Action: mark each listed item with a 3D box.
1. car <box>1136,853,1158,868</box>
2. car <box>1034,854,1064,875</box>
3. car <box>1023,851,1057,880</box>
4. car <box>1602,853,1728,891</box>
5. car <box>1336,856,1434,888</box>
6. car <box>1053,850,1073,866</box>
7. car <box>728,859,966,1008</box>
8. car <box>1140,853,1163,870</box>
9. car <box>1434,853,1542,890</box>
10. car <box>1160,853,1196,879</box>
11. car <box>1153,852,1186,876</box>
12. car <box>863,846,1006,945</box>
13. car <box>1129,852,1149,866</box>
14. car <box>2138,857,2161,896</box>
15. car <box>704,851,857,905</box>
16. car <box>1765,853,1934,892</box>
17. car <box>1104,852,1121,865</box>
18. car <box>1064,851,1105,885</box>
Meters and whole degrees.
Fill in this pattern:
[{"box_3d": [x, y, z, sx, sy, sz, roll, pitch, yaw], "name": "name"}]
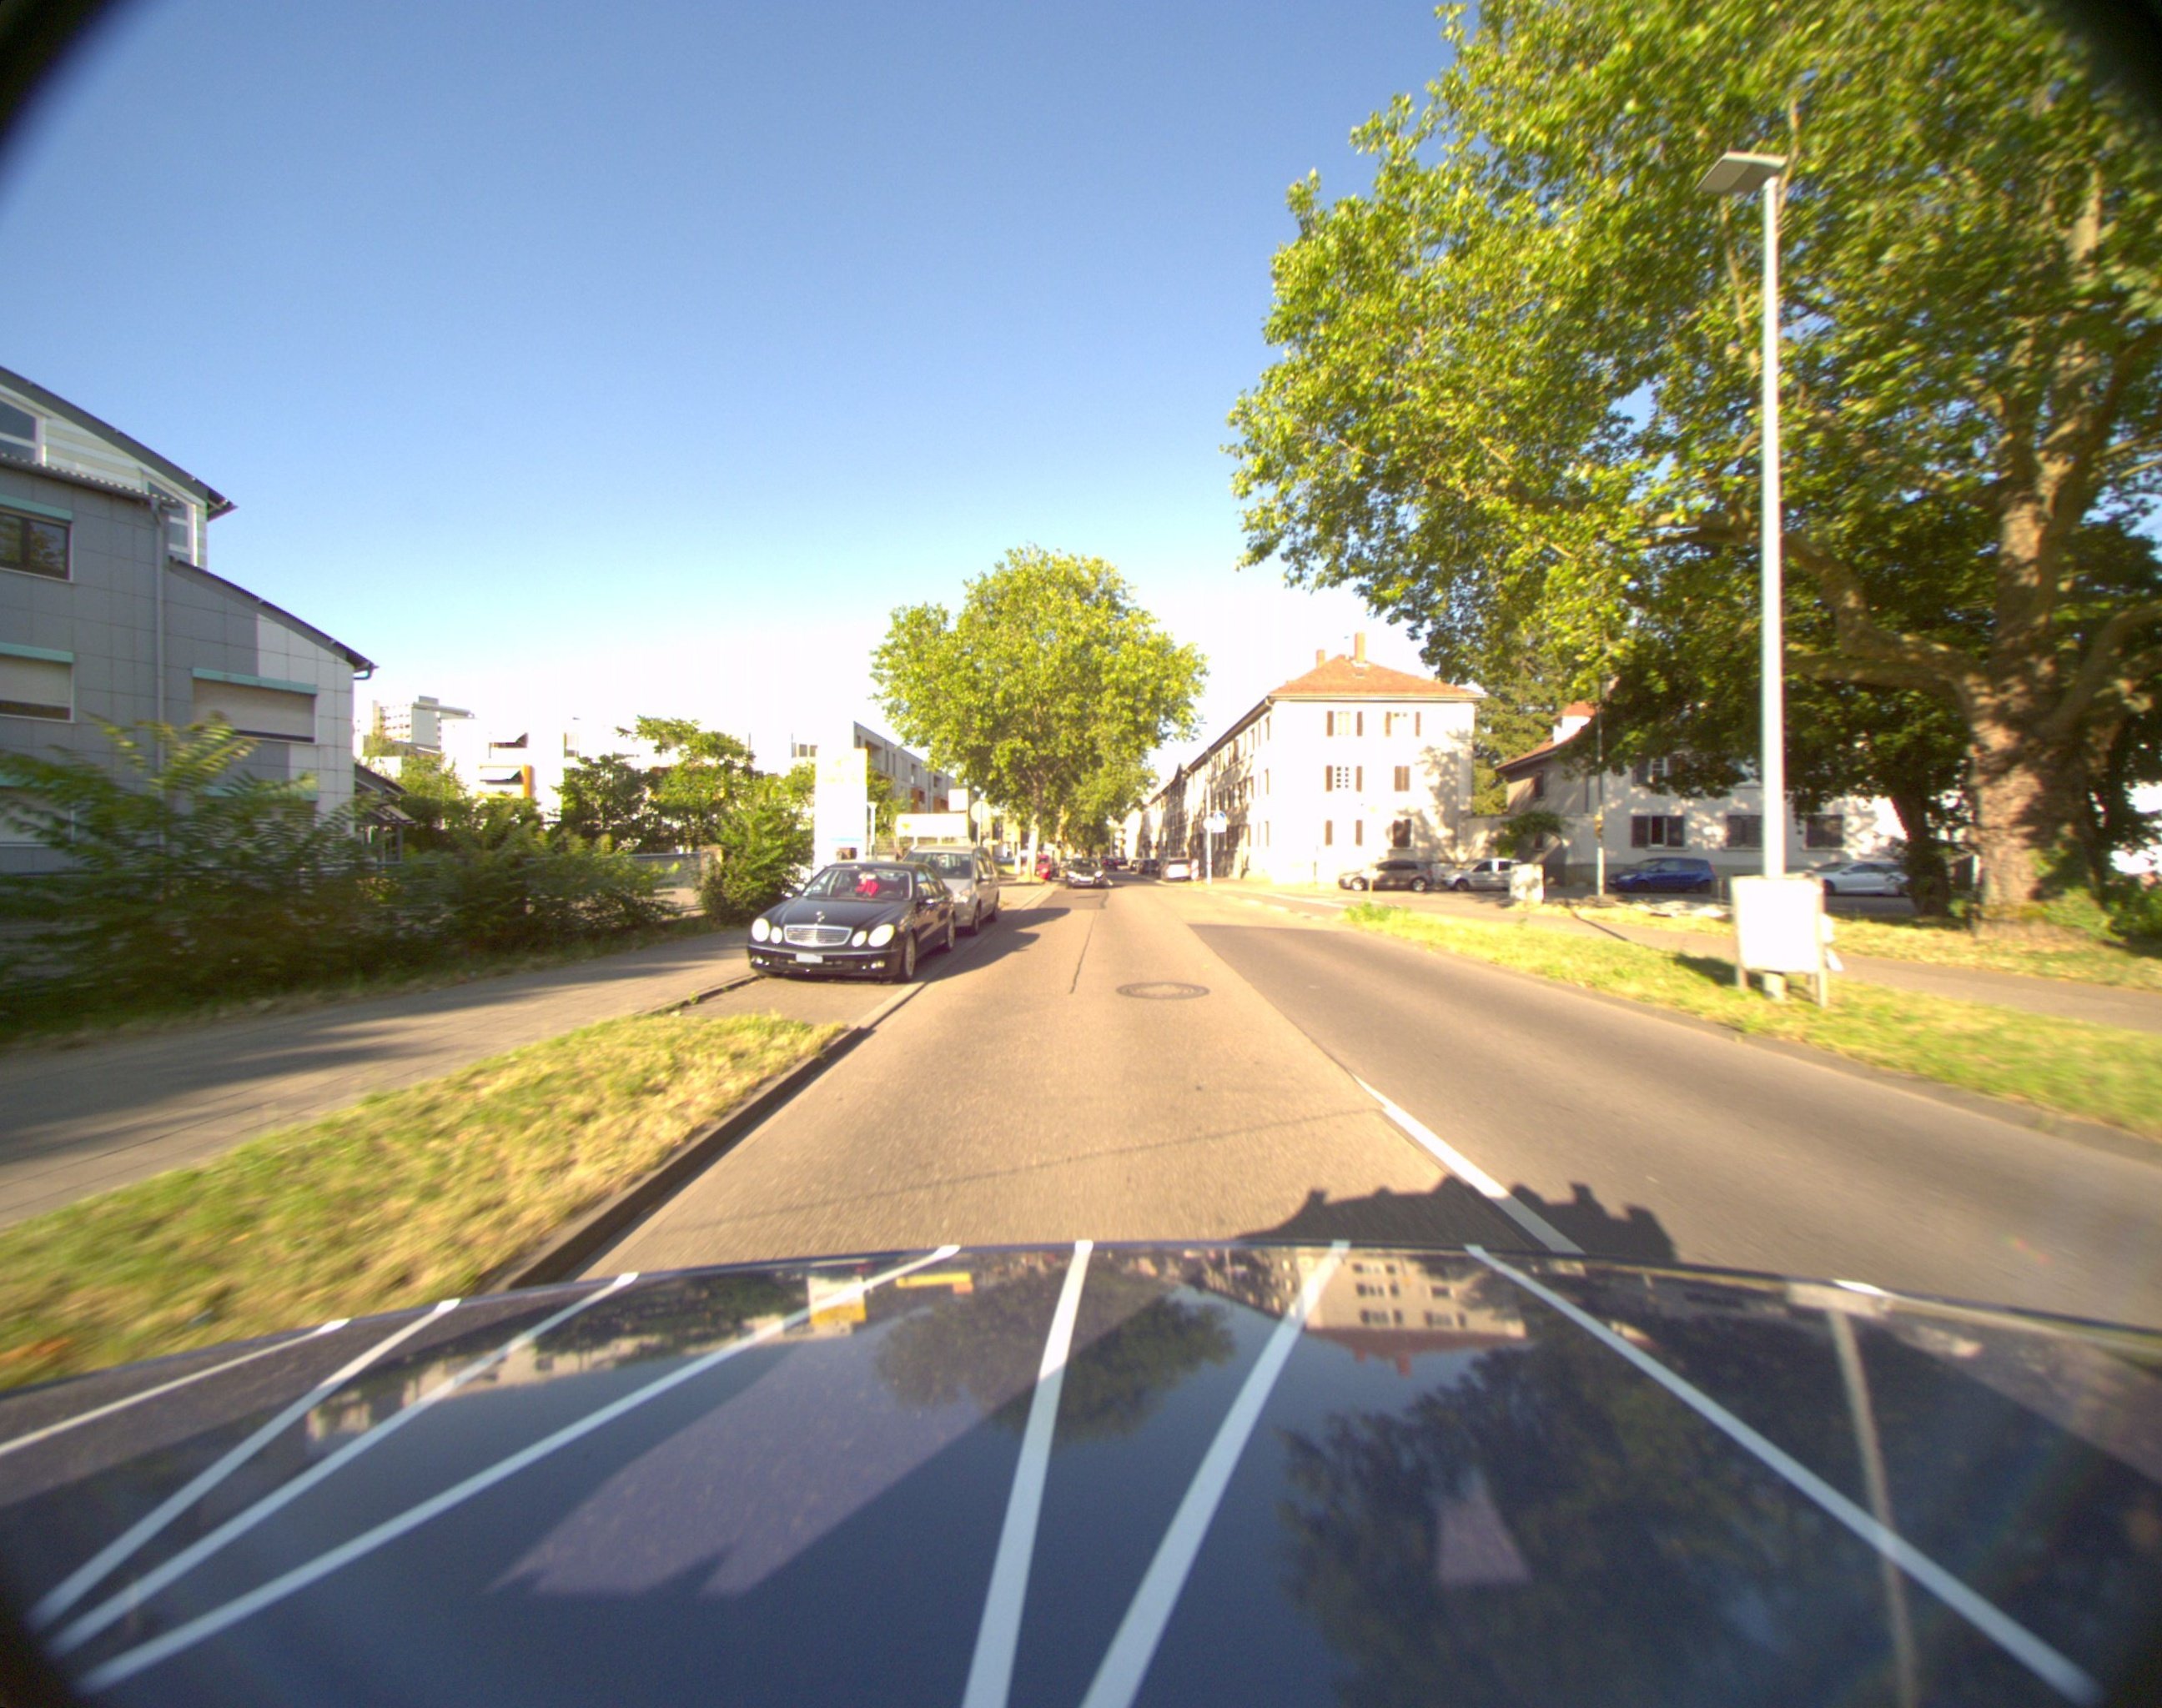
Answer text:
[{"box_3d": [6.723, 0.639, 77.483, 1.870, 1.475, 4.086, -2, 0, 0], "name": "car"}, {"box_3d": [-2.353, 0.760, 57.386, 1.704, 1.472, 4.697, 3, 0, 3], "name": "car"}, {"box_3d": [-2.449, 0.678, 46.251, 1.602, 1.680, 4.337, 1, 0, 2], "name": "car"}, {"box_3d": [25.531, 0.783, 33.367, 3.993, 1.552, 1.866, -1, 1, 13], "name": "car"}, {"box_3d": [14.226, 0.821, 35.778, 3.993, 1.410, 1.916, 0, 2, 13], "name": "car"}, {"box_3d": [-1.922, 0.415, 82.424, 1.869, 1.603, 4.087, 2, 0, 1], "name": "car"}, {"box_3d": [-2.885, 0.872, 10.535, 1.786, 1.506, 4.689, 1, 0, 0], "name": "car"}, {"box_3d": [6.587, 0.644, 71.309, 1.869, 1.475, 4.087, -2, 0, 3], "name": "car"}, {"box_3d": [18.514, 0.769, 34.719, 3.993, 1.552, 1.866, 0, 1, 13], "name": "car"}, {"box_3d": [5.873, 0.680, 46.290, 1.765, 1.475, 4.108, -2, 0, 2], "name": "car"}, {"box_3d": [6.085, 0.664, 52.369, 1.711, 1.498, 4.053, -2, 0, -1], "name": "car"}, {"box_3d": [-2.850, 0.722, 16.009, 1.998, 1.749, 4.917, -1, 0, 0], "name": "car"}, {"box_3d": [6.664, 0.534, 87.090, 1.870, 1.603, 4.086, -1, 0, -1], "name": "car"}, {"box_3d": [44.444, 0.880, 29.349, 3.993, 1.552, 1.866, 0, 1, 13], "name": "car"}, {"box_3d": [-9.259, 0.715, 23.635, 3.996, 1.551, 1.841, -1, 1, 2], "name": "car"}, {"box_3d": [31.986, 0.764, 31.781, 4.671, 1.552, 1.867, -1, 0, 13], "name": "car"}, {"box_3d": [3.878, 0.549, 93.453, 1.901, 1.581, 4.069, 1, 0, 0], "name": "car"}, {"box_3d": [0.122, 0.621, 35.999, 1.870, 1.471, 4.085, 0, 1, -1], "name": "car"}]
